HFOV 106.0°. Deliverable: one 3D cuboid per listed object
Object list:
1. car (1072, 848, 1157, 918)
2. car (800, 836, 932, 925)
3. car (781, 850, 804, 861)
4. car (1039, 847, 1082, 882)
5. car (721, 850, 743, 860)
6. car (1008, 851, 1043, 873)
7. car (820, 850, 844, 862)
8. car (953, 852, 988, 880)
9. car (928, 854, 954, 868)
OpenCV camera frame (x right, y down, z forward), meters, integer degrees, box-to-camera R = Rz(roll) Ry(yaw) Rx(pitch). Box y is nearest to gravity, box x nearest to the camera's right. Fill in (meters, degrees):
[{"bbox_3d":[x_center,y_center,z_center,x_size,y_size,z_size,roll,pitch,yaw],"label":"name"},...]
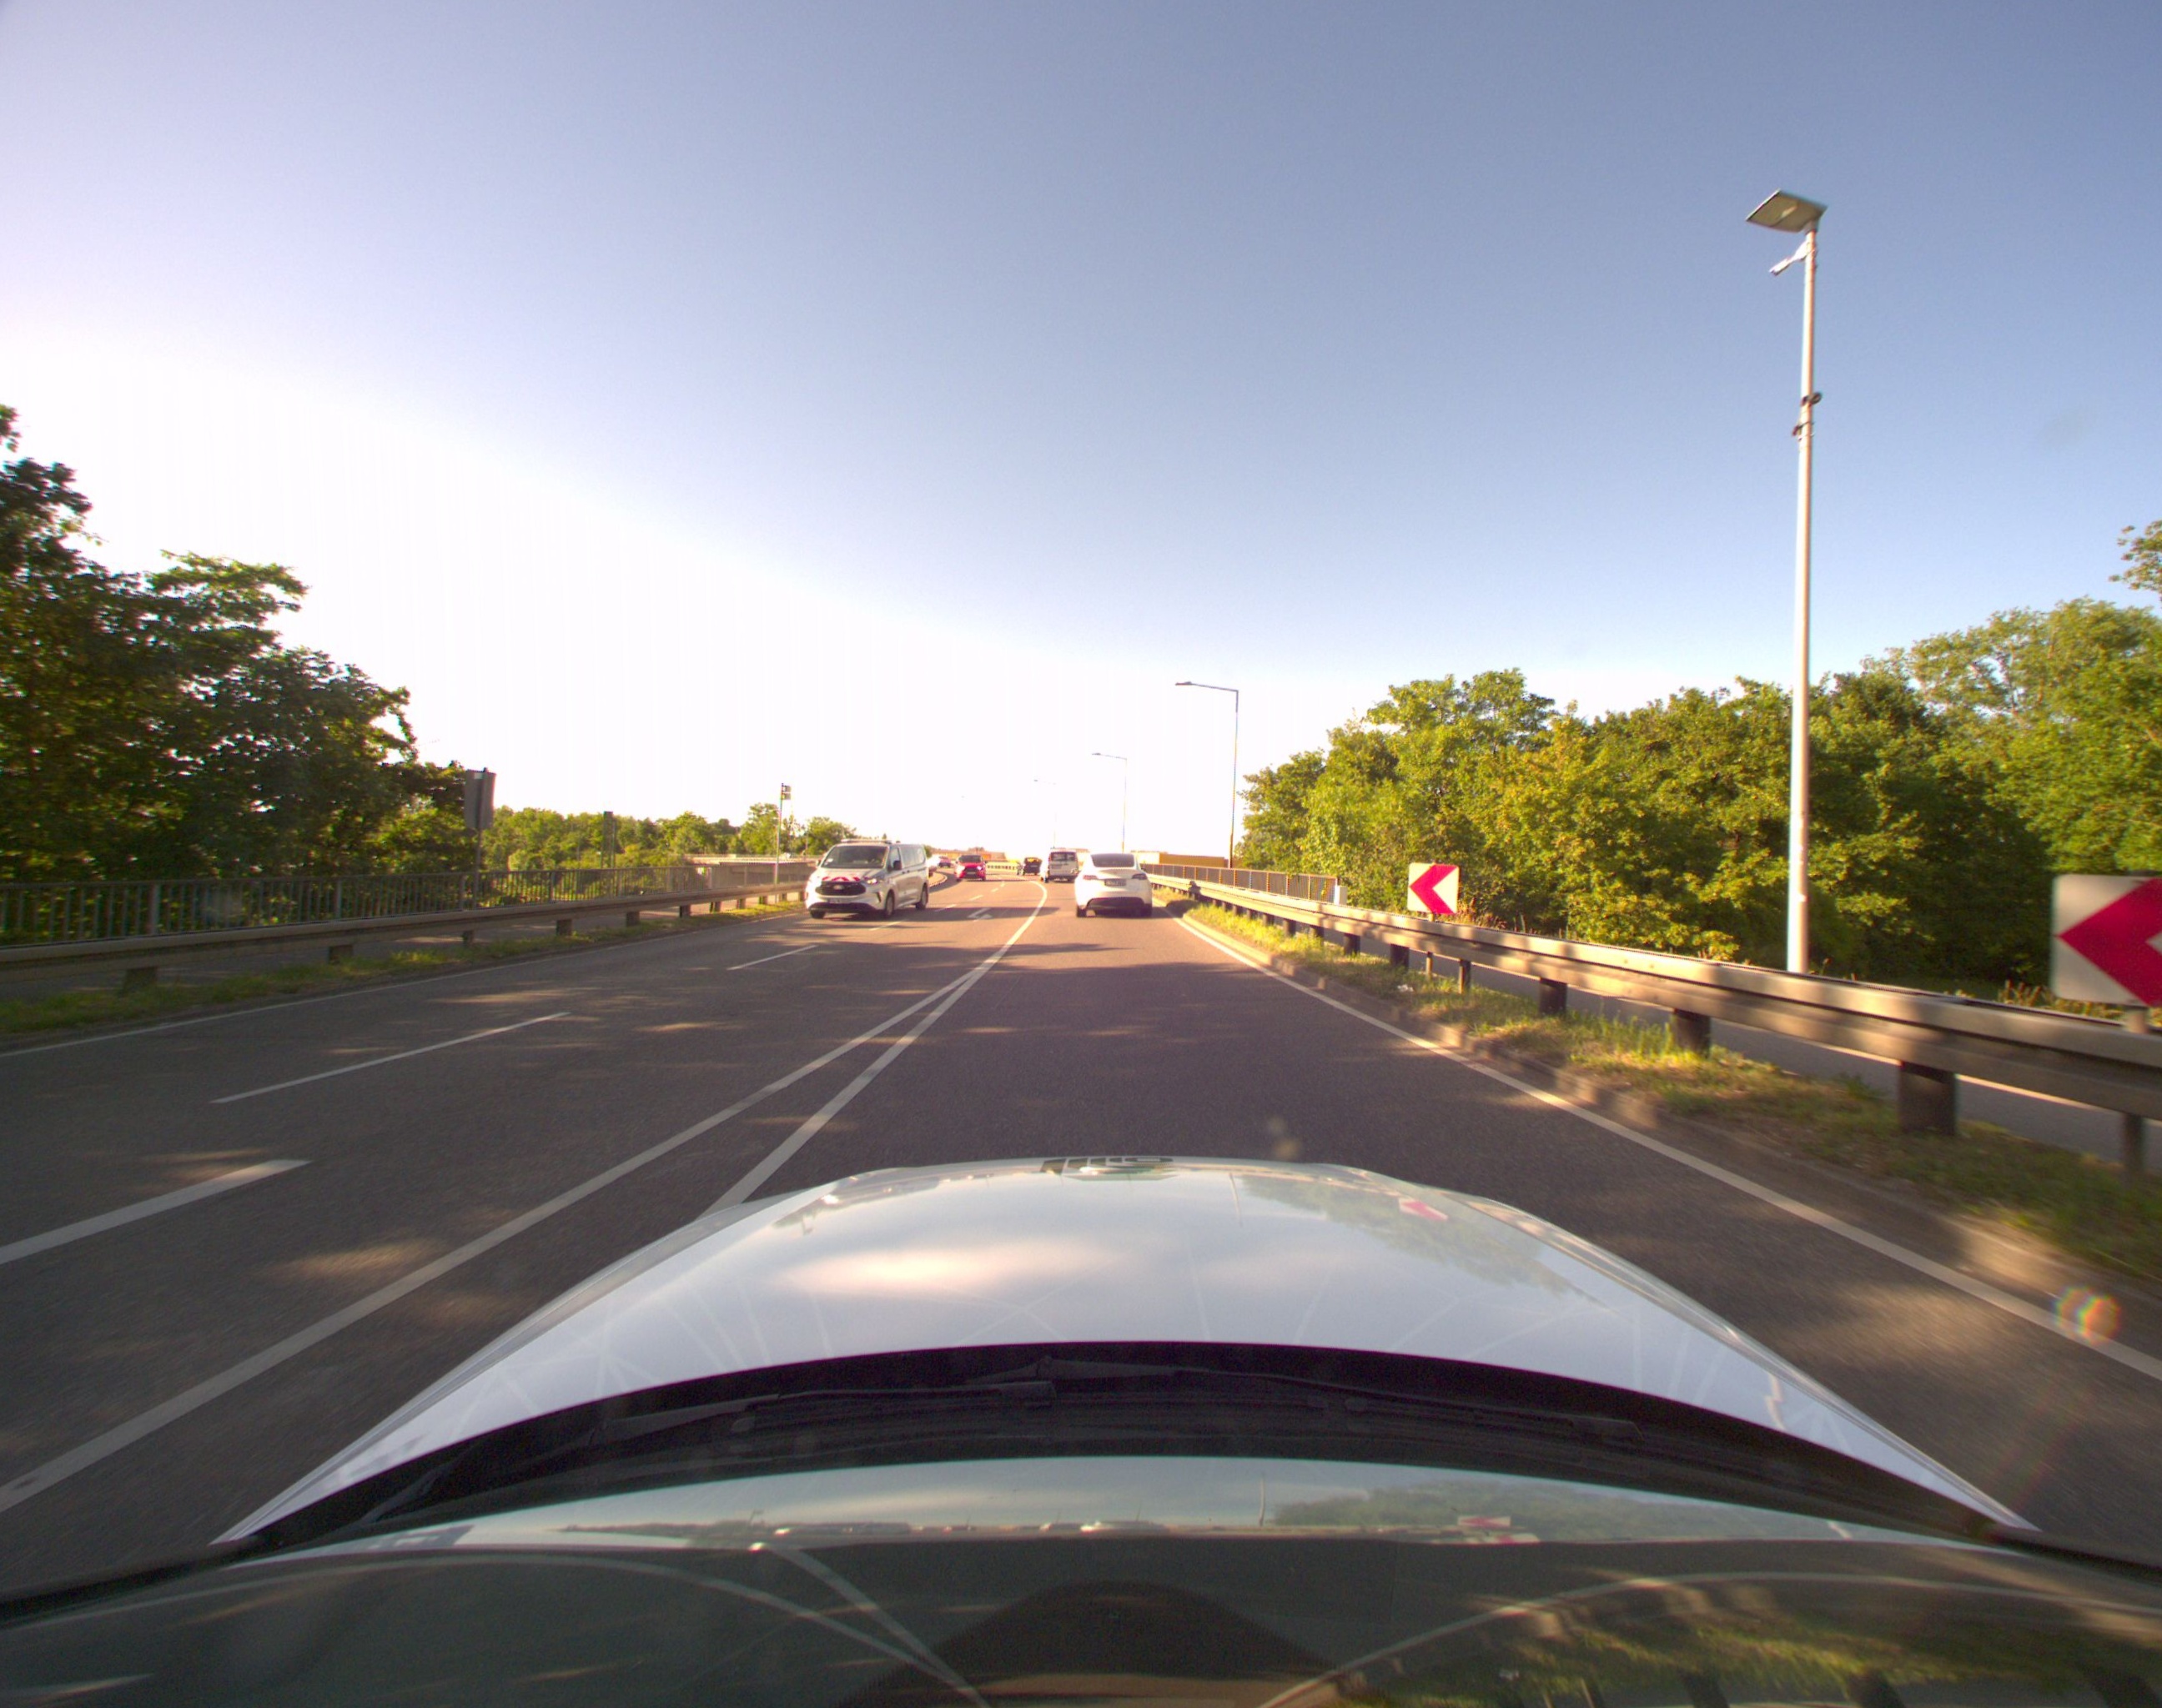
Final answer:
[{"bbox_3d":[0.793,0.698,21.598,1.980,1.638,4.060,-1,0,-2],"label":"car"},{"bbox_3d":[-5.601,0.618,22.011,1.941,2.112,5.274,0,0,3],"label":"car"},{"bbox_3d":[-49.310,0.267,139.327,3.949,1.950,1.975,0,0,39],"label":"car"},{"bbox_3d":[-1.224,0.570,46.876,2.003,1.940,4.456,0,0,-7],"label":"car"},{"bbox_3d":[-64.134,0.199,149.746,3.948,1.950,1.975,0,0,35],"label":"car"},{"bbox_3d":[-4.299,0.602,62.195,1.972,1.638,3.980,-1,0,-15],"label":"car"},{"bbox_3d":[-39.947,0.322,130.614,3.949,1.950,1.975,0,0,41],"label":"car"},{"bbox_3d":[-6.670,0.691,49.528,1.800,1.638,3.995,0,0,-4],"label":"car"},{"bbox_3d":[-16.586,0.814,96.282,1.871,1.585,3.877,0,0,-30],"label":"car"}]
